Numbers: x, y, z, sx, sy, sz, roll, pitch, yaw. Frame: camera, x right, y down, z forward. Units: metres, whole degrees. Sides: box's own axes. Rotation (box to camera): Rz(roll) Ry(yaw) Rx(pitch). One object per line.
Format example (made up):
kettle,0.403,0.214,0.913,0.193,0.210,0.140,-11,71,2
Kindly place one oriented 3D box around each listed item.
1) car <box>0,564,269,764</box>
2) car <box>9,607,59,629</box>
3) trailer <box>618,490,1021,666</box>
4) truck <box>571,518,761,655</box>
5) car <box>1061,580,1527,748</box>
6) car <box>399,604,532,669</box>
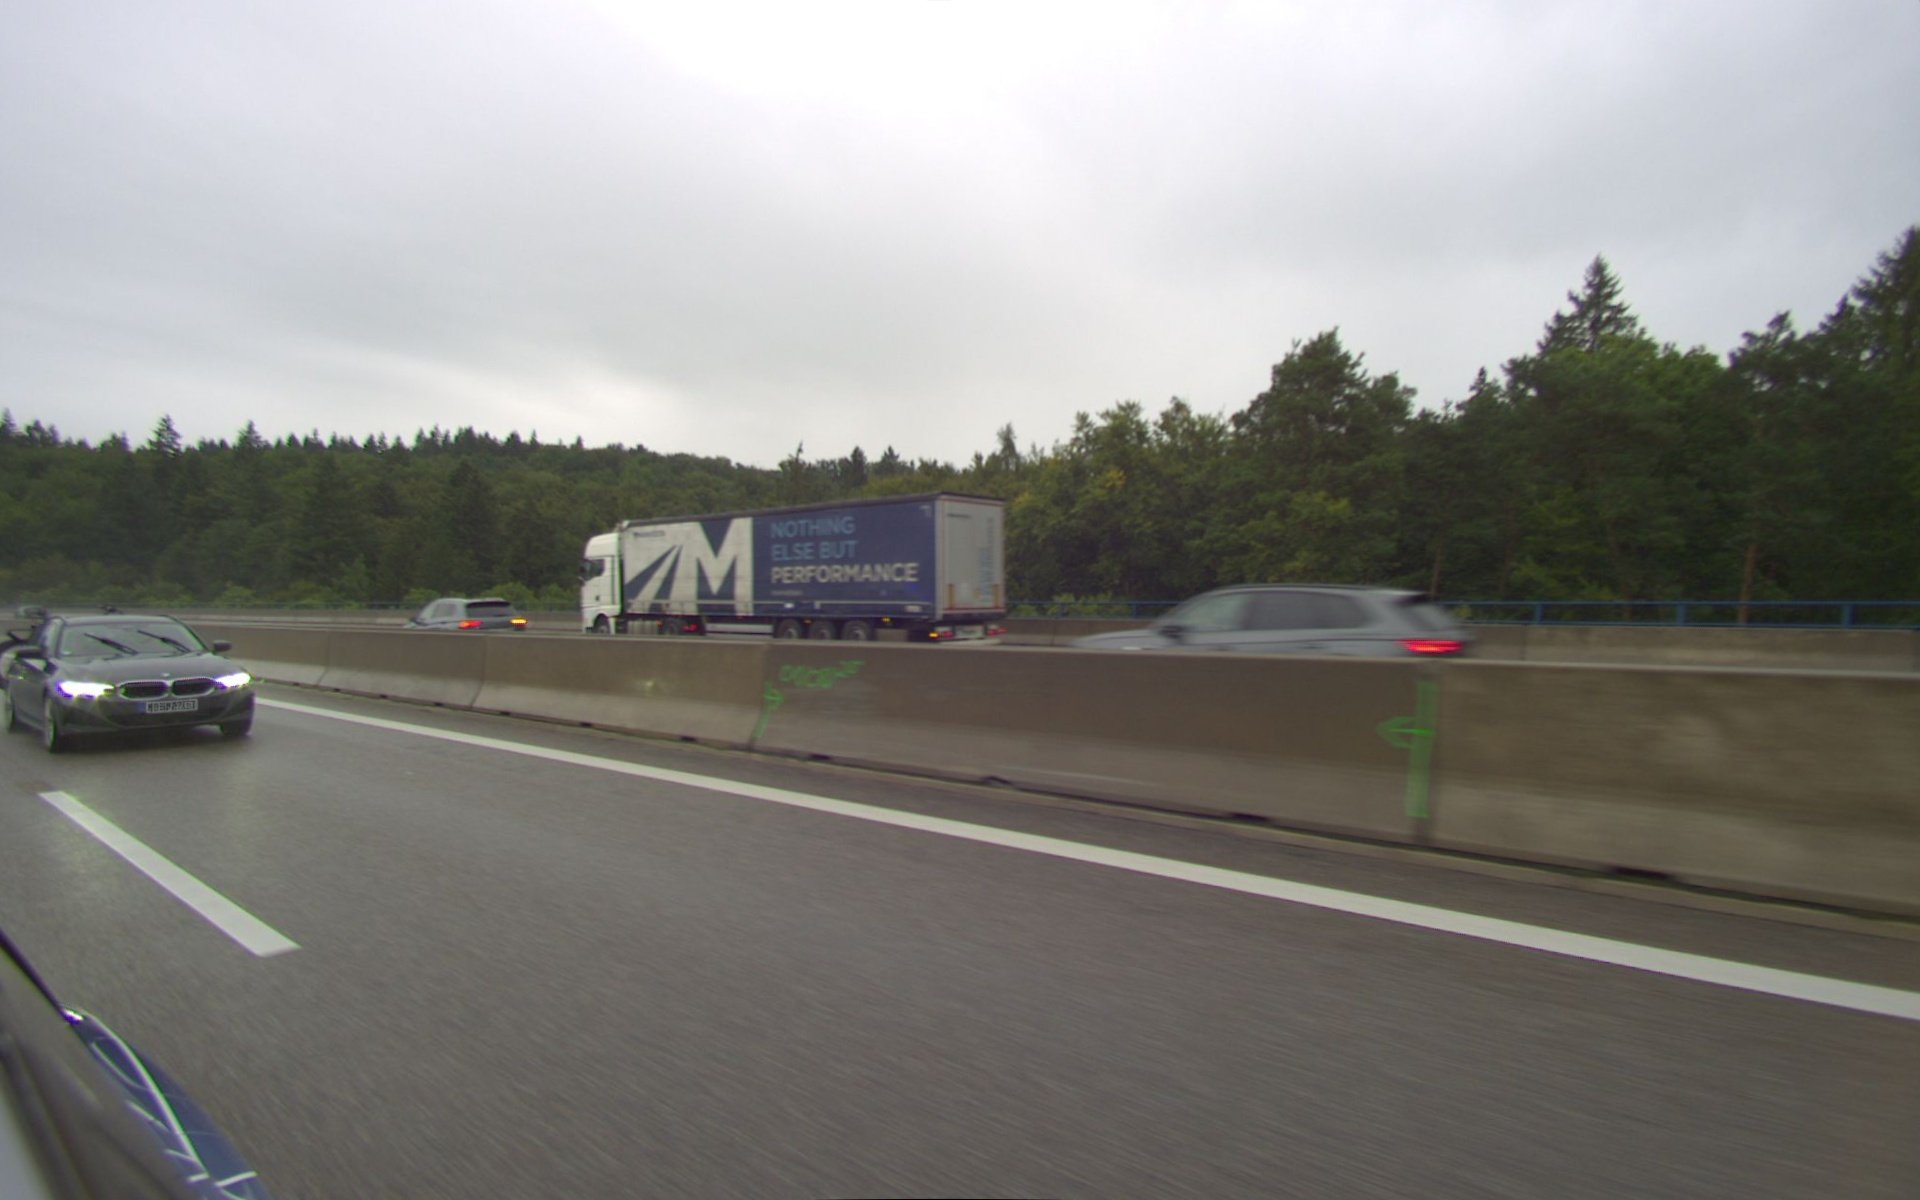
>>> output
car,-10.699,0.655,12.646,6.159,1.959,1.888,-1,0,41
car,-67.942,1.331,74.238,4.210,1.560,1.975,-1,0,37
trailer,-4.676,-0.430,28.867,13.776,4.063,2.916,-1,0,40
truck,-9.707,-0.363,33.097,6.376,4.063,2.917,-1,0,40
car,3.658,0.614,11.698,4.775,1.560,1.866,-1,0,41
car,-12.974,0.901,26.481,3.885,1.560,1.765,-1,0,41
